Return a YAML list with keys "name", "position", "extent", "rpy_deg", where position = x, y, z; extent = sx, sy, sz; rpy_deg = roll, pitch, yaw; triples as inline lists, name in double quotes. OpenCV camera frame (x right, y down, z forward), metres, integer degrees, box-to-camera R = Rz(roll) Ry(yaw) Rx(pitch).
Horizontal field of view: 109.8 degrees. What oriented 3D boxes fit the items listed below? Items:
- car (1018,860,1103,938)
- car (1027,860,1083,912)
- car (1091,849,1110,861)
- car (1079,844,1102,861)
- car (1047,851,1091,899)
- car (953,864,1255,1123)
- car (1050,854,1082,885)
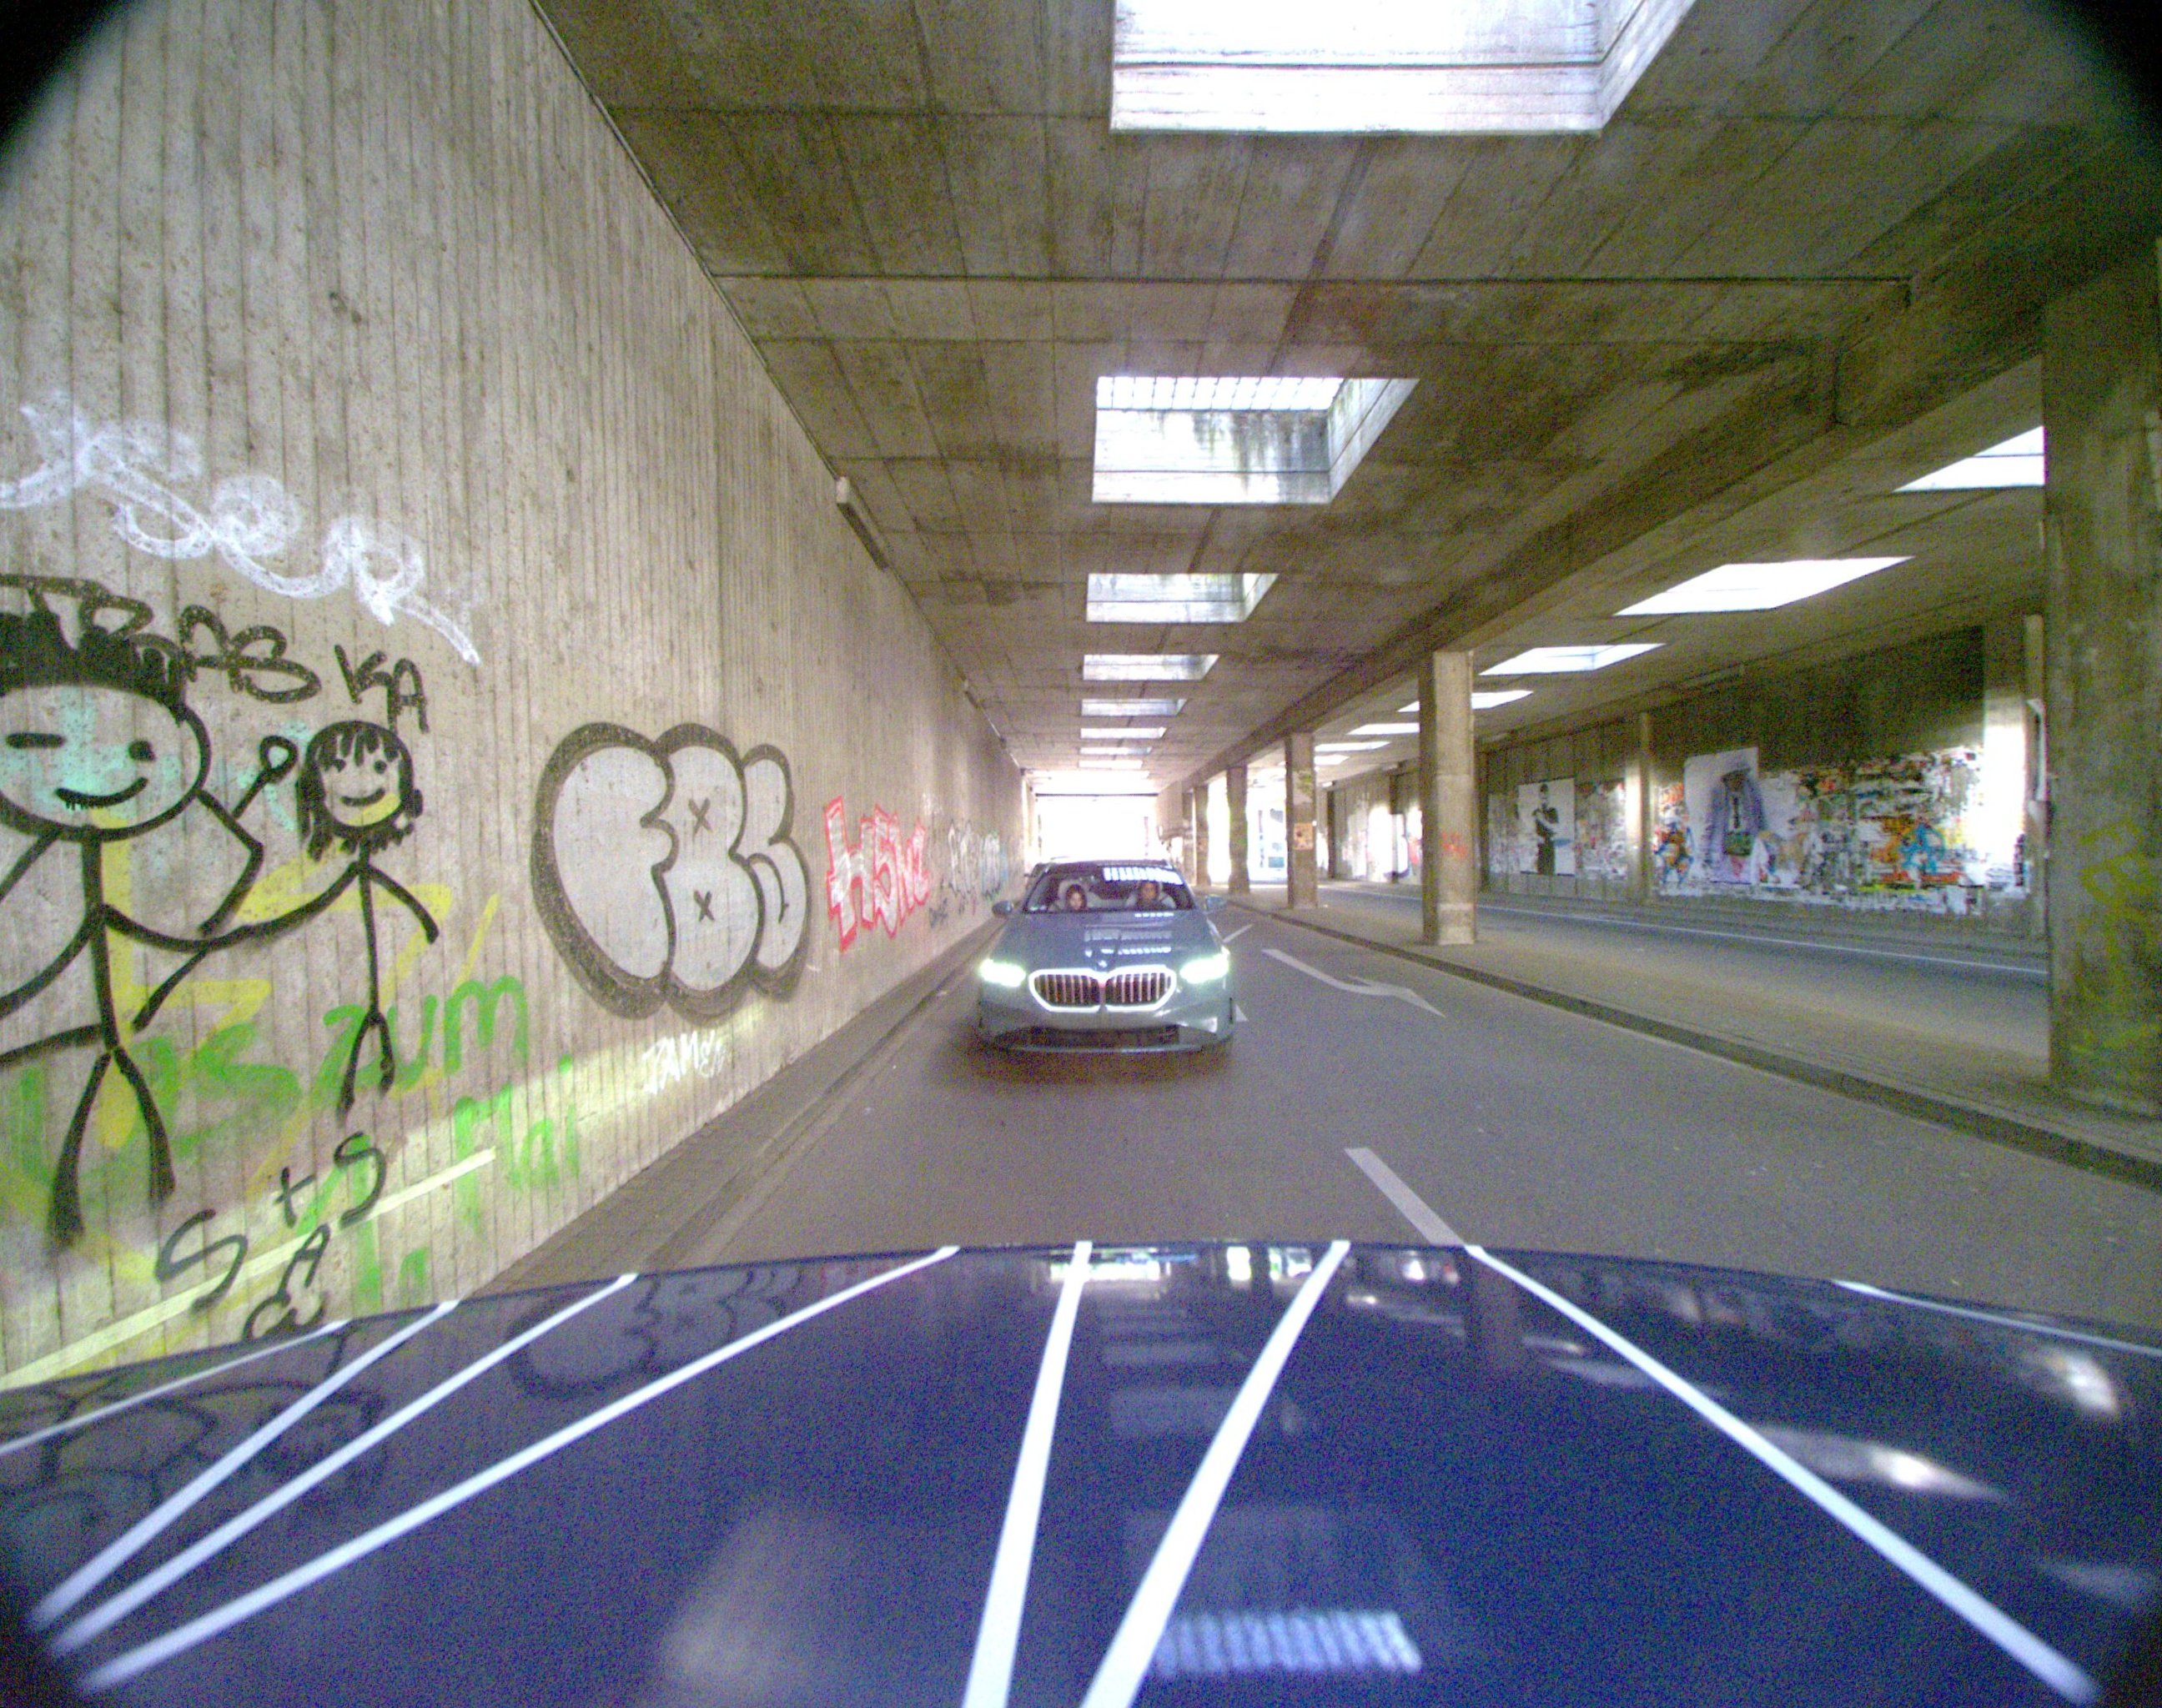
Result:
- name: "car"
  position: [-0.419, 0.926, 17.308]
  extent: [1.679, 1.516, 3.969]
  rpy_deg: [-2, 0, 0]
- name: "car"
  position: [-0.755, 0.954, 23.934]
  extent: [1.592, 1.432, 3.806]
  rpy_deg: [-2, 0, 0]
- name: "car"
  position: [2.486, 0.142, 97.988]
  extent: [1.741, 1.519, 3.786]
  rpy_deg: [-2, 0, -9]
- name: "car"
  position: [1.289, -0.188, 103.680]
  extent: [2.161, 2.150, 4.785]
  rpy_deg: [-2, 0, -12]
- name: "car"
  position: [-0.456, 0.777, 29.941]
  extent: [1.592, 1.711, 3.694]
  rpy_deg: [-2, 0, 0]
- name: "car"
  position: [0.133, 0.911, 7.299]
  extent: [1.861, 1.516, 5.042]
  rpy_deg: [-2, 0, 0]
- name: "car"
  position: [-0.800, 0.811, 41.268]
  extent: [1.592, 1.562, 3.694]
  rpy_deg: [-2, 0, 0]
